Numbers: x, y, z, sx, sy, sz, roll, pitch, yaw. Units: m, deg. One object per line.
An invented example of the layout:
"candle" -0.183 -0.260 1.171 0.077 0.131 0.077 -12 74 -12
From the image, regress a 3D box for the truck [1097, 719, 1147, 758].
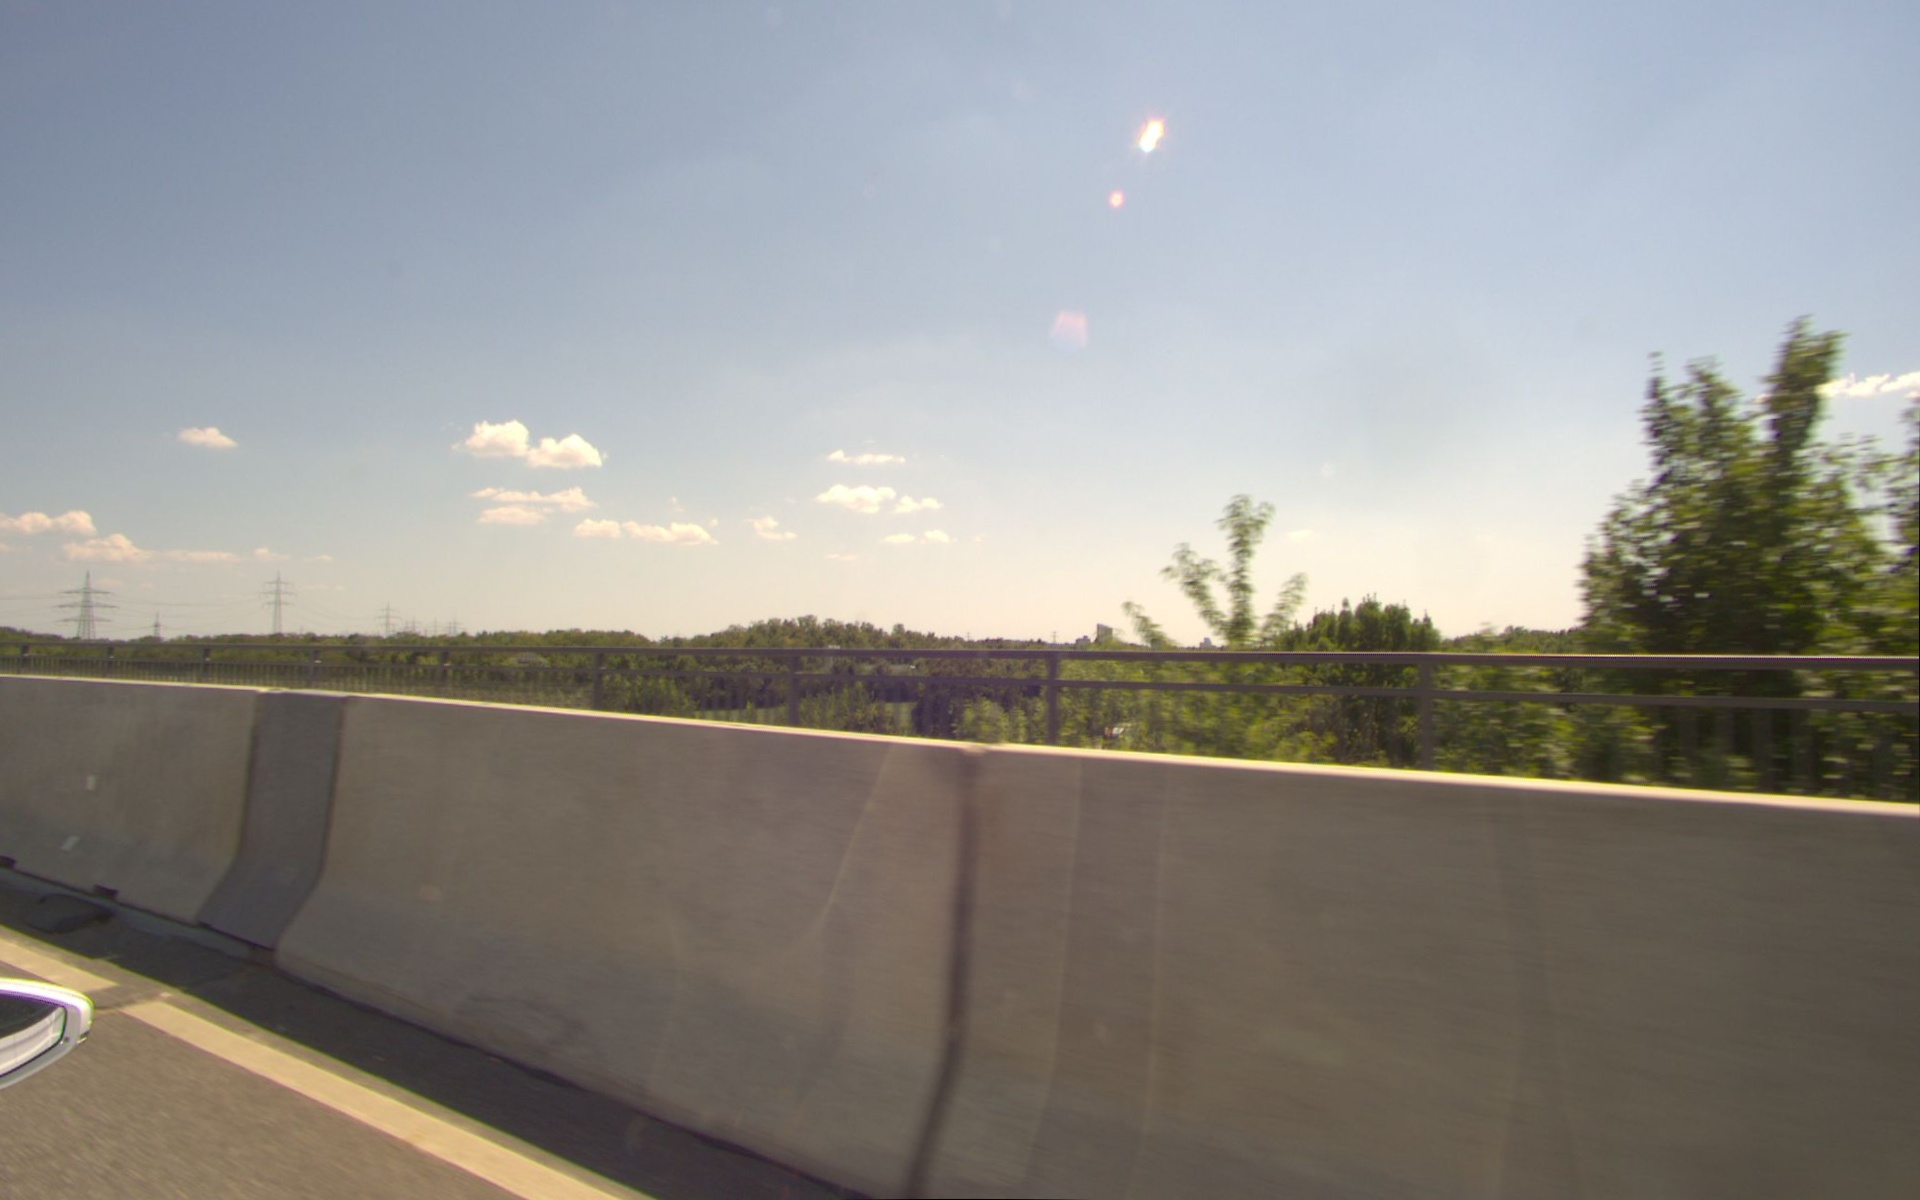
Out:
"truck" 18.271 15.494 112.338 2.734 4.087 9.332 -1 -7 28
